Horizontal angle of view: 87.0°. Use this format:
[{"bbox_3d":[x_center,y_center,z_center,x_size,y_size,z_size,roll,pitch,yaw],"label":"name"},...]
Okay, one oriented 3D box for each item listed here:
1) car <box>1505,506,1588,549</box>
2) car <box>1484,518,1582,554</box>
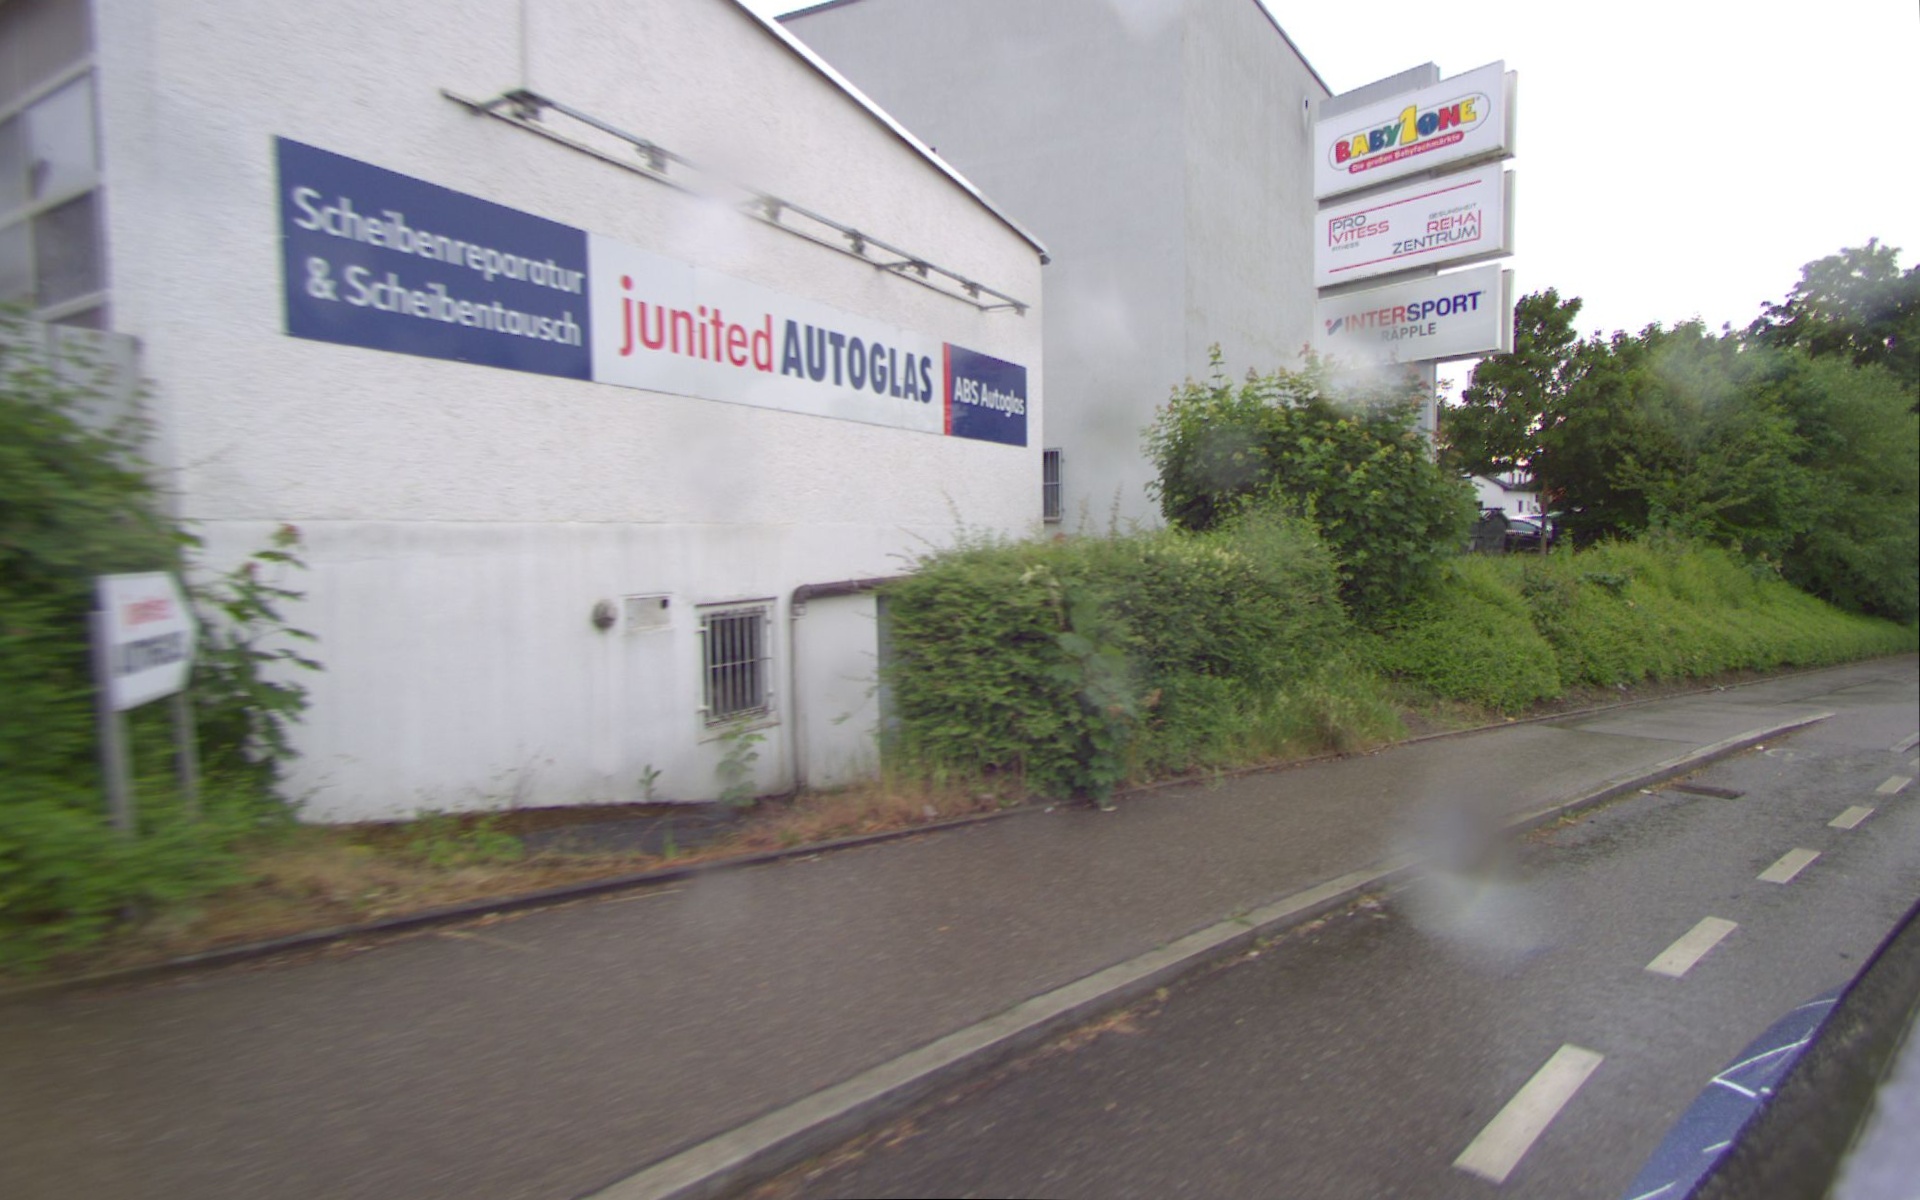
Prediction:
[{"bbox_3d":[25.561,-3.138,44.122,2.984,1.698,1.470,0,3,37],"label":"car"},{"bbox_3d":[21.189,-2.362,37.464,2.984,1.209,1.470,0,3,37],"label":"car"}]
